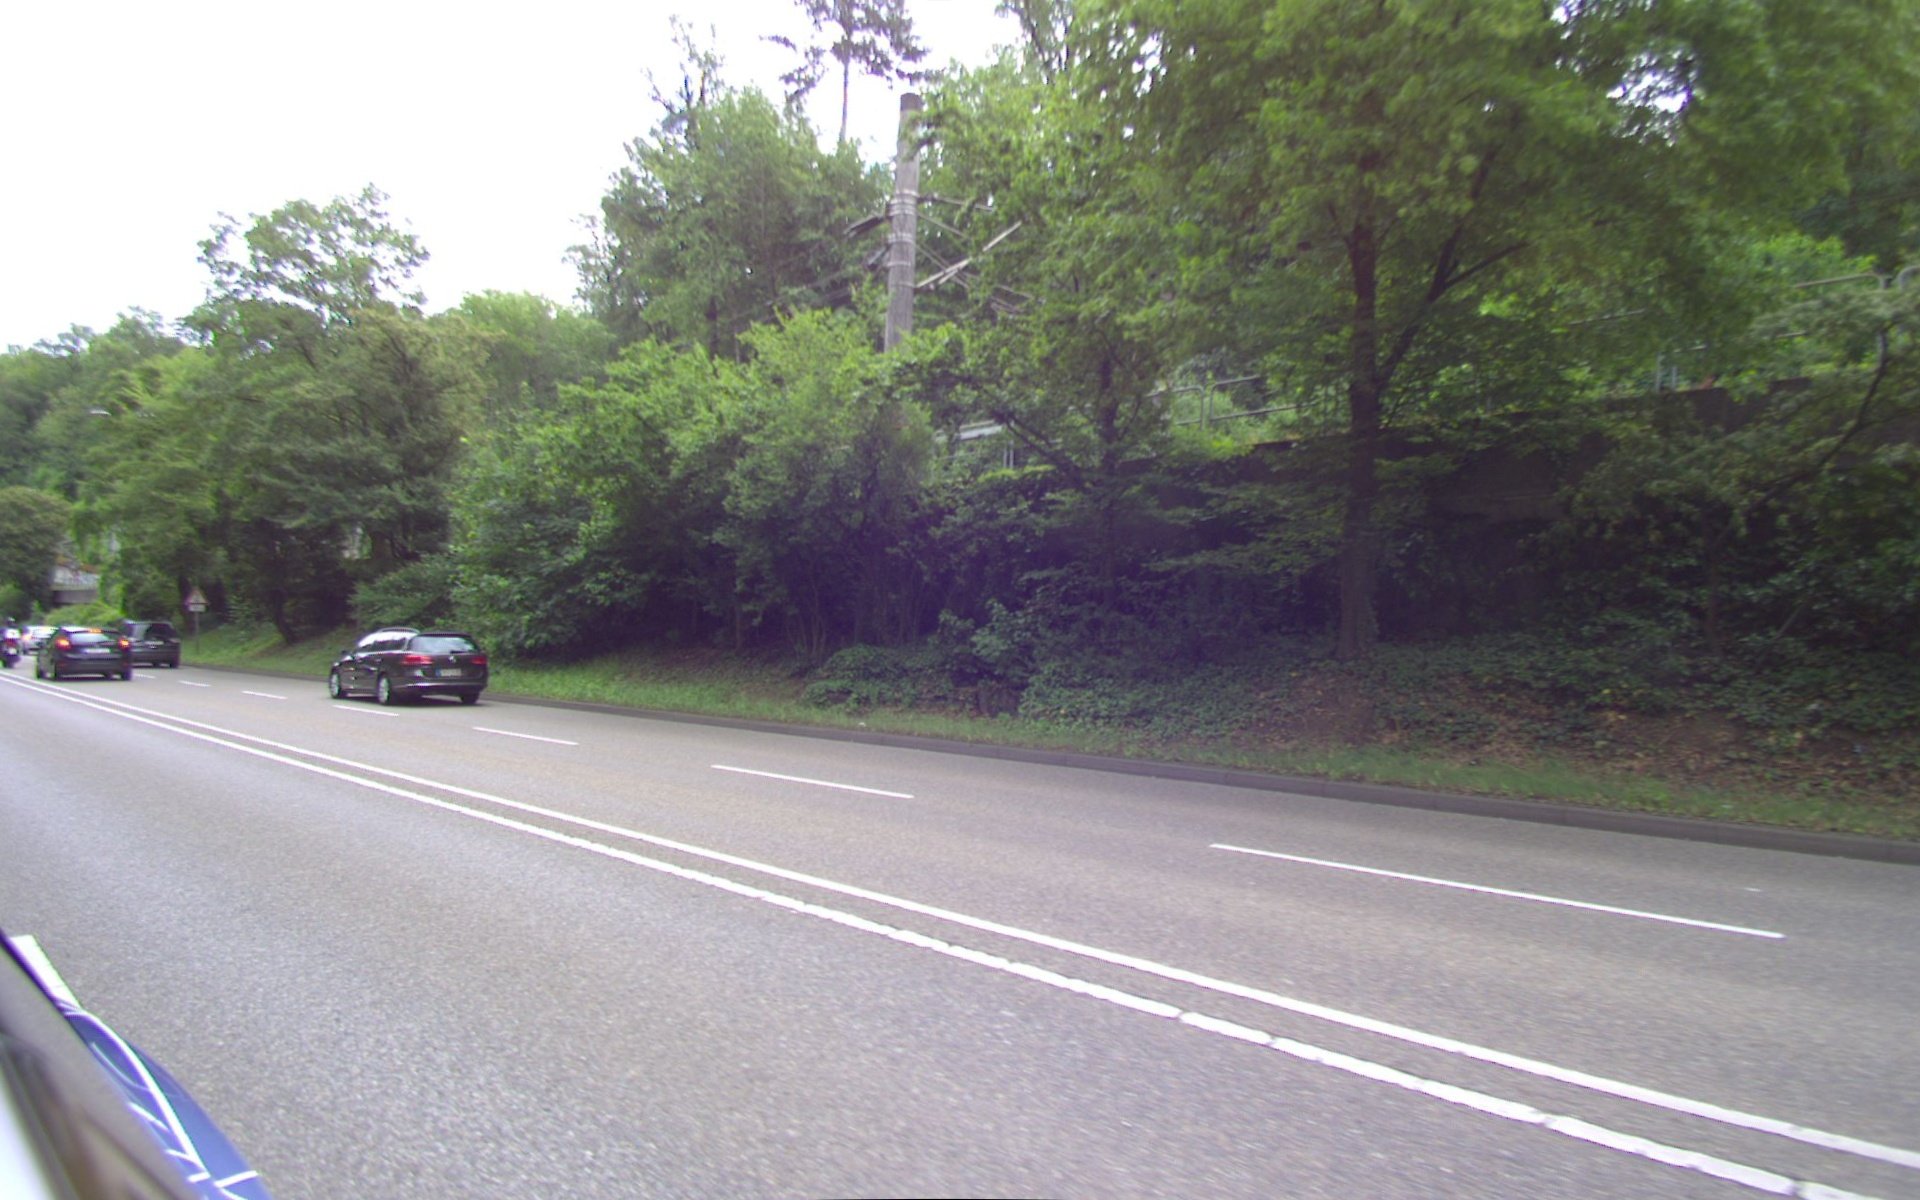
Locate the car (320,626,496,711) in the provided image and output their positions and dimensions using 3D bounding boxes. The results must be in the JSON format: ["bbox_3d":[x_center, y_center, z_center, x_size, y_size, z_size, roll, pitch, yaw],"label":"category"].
[{"bbox_3d":[-11.319,1.330,20.616,4.431,1.522,1.714,-1,-3,42],"label":"car"}]

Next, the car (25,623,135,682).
[{"bbox_3d":[-24.043,1.402,27.610,3.998,1.472,1.669,-1,-4,41],"label":"car"}]

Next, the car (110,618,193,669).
[{"bbox_3d":[-30.292,1.622,37.869,4.133,1.786,1.640,-1,-4,41],"label":"car"}]

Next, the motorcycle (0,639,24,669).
[{"bbox_3d":[-32.311,1.820,34.246,2.025,1.007,0.692,-1,-4,41],"label":"motorcycle"}]

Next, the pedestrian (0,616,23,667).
[{"bbox_3d":[-32.217,1.412,34.201,0.830,1.701,0.656,-1,-4,41],"label":"pedestrian"}]
